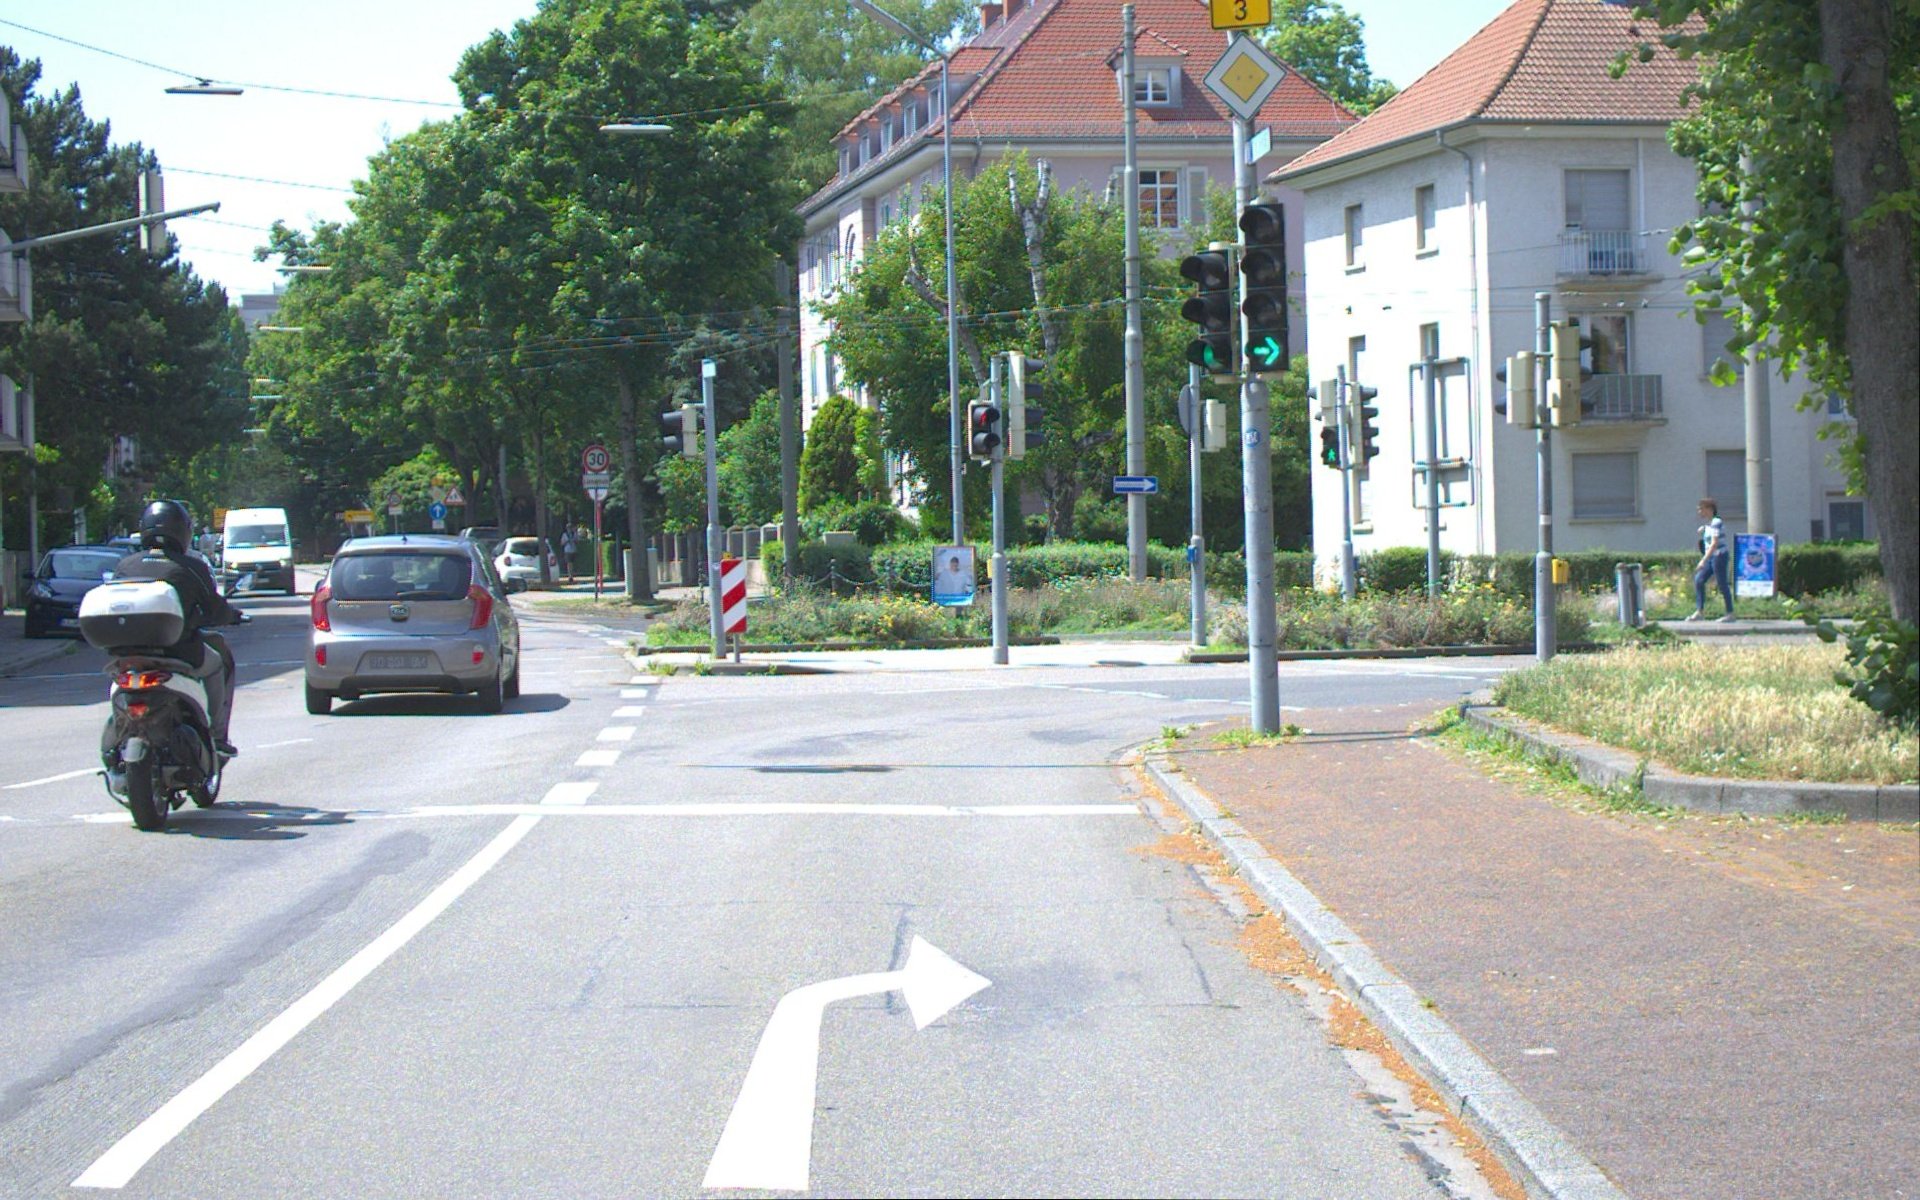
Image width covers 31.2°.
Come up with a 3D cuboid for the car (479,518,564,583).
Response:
[{"bbox_3d":[-12.477,-1.435,97.702,1.993,1.801,4.001,0,1,-13],"label":"car"}]

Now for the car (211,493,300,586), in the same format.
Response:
[{"bbox_3d":[-20.578,-1.761,100.660,2.215,2.492,7.556,-4,1,-10],"label":"car"}]

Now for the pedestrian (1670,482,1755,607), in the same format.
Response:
[{"bbox_3d":[10.304,-0.762,47.099,0.835,1.699,0.762,-1,1,-28],"label":"pedestrian"}]

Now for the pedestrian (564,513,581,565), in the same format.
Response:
[{"bbox_3d":[-12.285,-1.935,109.069,0.508,1.650,0.466,0,1,-8],"label":"pedestrian"}]

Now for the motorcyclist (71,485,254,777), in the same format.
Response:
[{"bbox_3d":[-4.059,0.144,17.562,0.711,1.440,1.019,-1,1,-2],"label":"motorcyclist"}]

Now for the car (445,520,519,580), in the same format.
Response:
[{"bbox_3d":[-15.419,-1.621,110.862,1.993,1.900,4.001,0,1,-13],"label":"car"}]

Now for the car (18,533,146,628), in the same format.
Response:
[{"bbox_3d":[-14.632,-0.317,57.307,1.993,1.514,4.001,0,0,-14],"label":"car"}]

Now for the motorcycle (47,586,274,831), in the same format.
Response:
[{"bbox_3d":[-4.062,0.516,17.621,0.711,1.130,2.197,-1,1,-2],"label":"motorcycle"}]

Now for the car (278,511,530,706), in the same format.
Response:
[{"bbox_3d":[-4.739,0.033,29.776,1.798,1.552,4.038,-1,1,-4],"label":"car"}]

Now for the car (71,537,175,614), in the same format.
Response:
[{"bbox_3d":[-17.194,-0.507,70.611,1.993,1.504,4.001,-1,1,-14],"label":"car"}]
